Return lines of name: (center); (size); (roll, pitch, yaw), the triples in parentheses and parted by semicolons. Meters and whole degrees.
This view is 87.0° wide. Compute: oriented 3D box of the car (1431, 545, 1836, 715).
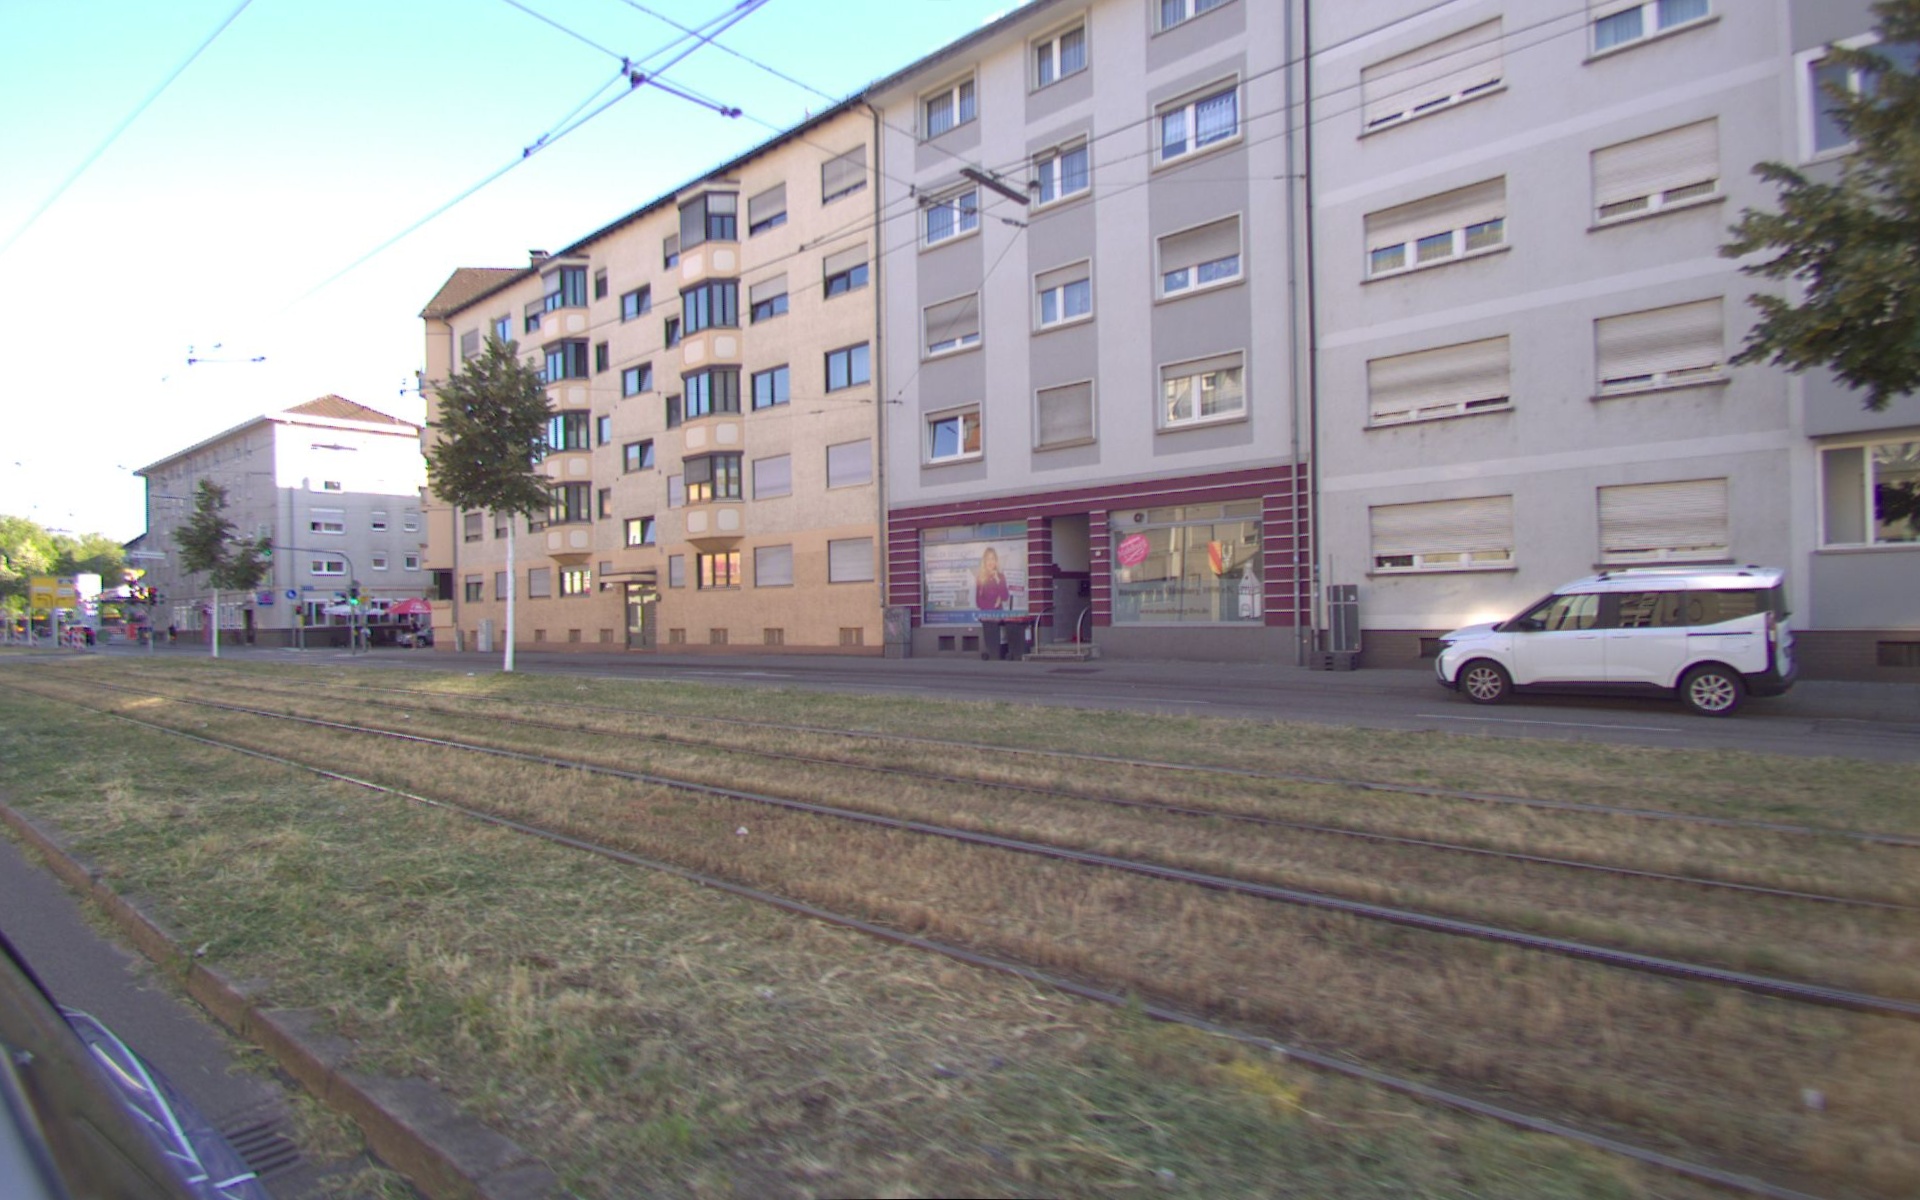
car: (9.245, 0.366, 14.118); (4.422, 1.841, 1.848); (-2, 7, 43)

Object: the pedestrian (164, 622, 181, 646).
pedestrian: (-57.899, 2.512, 74.363); (1.225, 1.754, 0.733); (-2, -1, 40)

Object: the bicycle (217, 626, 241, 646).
bicycle: (-52.166, 2.537, 72.197); (3.234, 1.388, 0.572); (-1, -1, 40)

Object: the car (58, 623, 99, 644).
car: (-73.113, 2.790, 83.911); (4.466, 1.603, 1.897); (-2, -2, 41)

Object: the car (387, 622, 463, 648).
car: (-34.830, 2.258, 65.953); (1.996, 1.519, 3.951); (-2, -1, 36)

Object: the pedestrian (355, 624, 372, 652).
pedestrian: (-33.079, 2.096, 56.132); (0.582, 1.501, 0.616); (-1, 0, 40)

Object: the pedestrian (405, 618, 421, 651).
pedestrian: (-30.161, 1.881, 55.802); (0.624, 1.784, 0.827); (-1, -1, -21)
